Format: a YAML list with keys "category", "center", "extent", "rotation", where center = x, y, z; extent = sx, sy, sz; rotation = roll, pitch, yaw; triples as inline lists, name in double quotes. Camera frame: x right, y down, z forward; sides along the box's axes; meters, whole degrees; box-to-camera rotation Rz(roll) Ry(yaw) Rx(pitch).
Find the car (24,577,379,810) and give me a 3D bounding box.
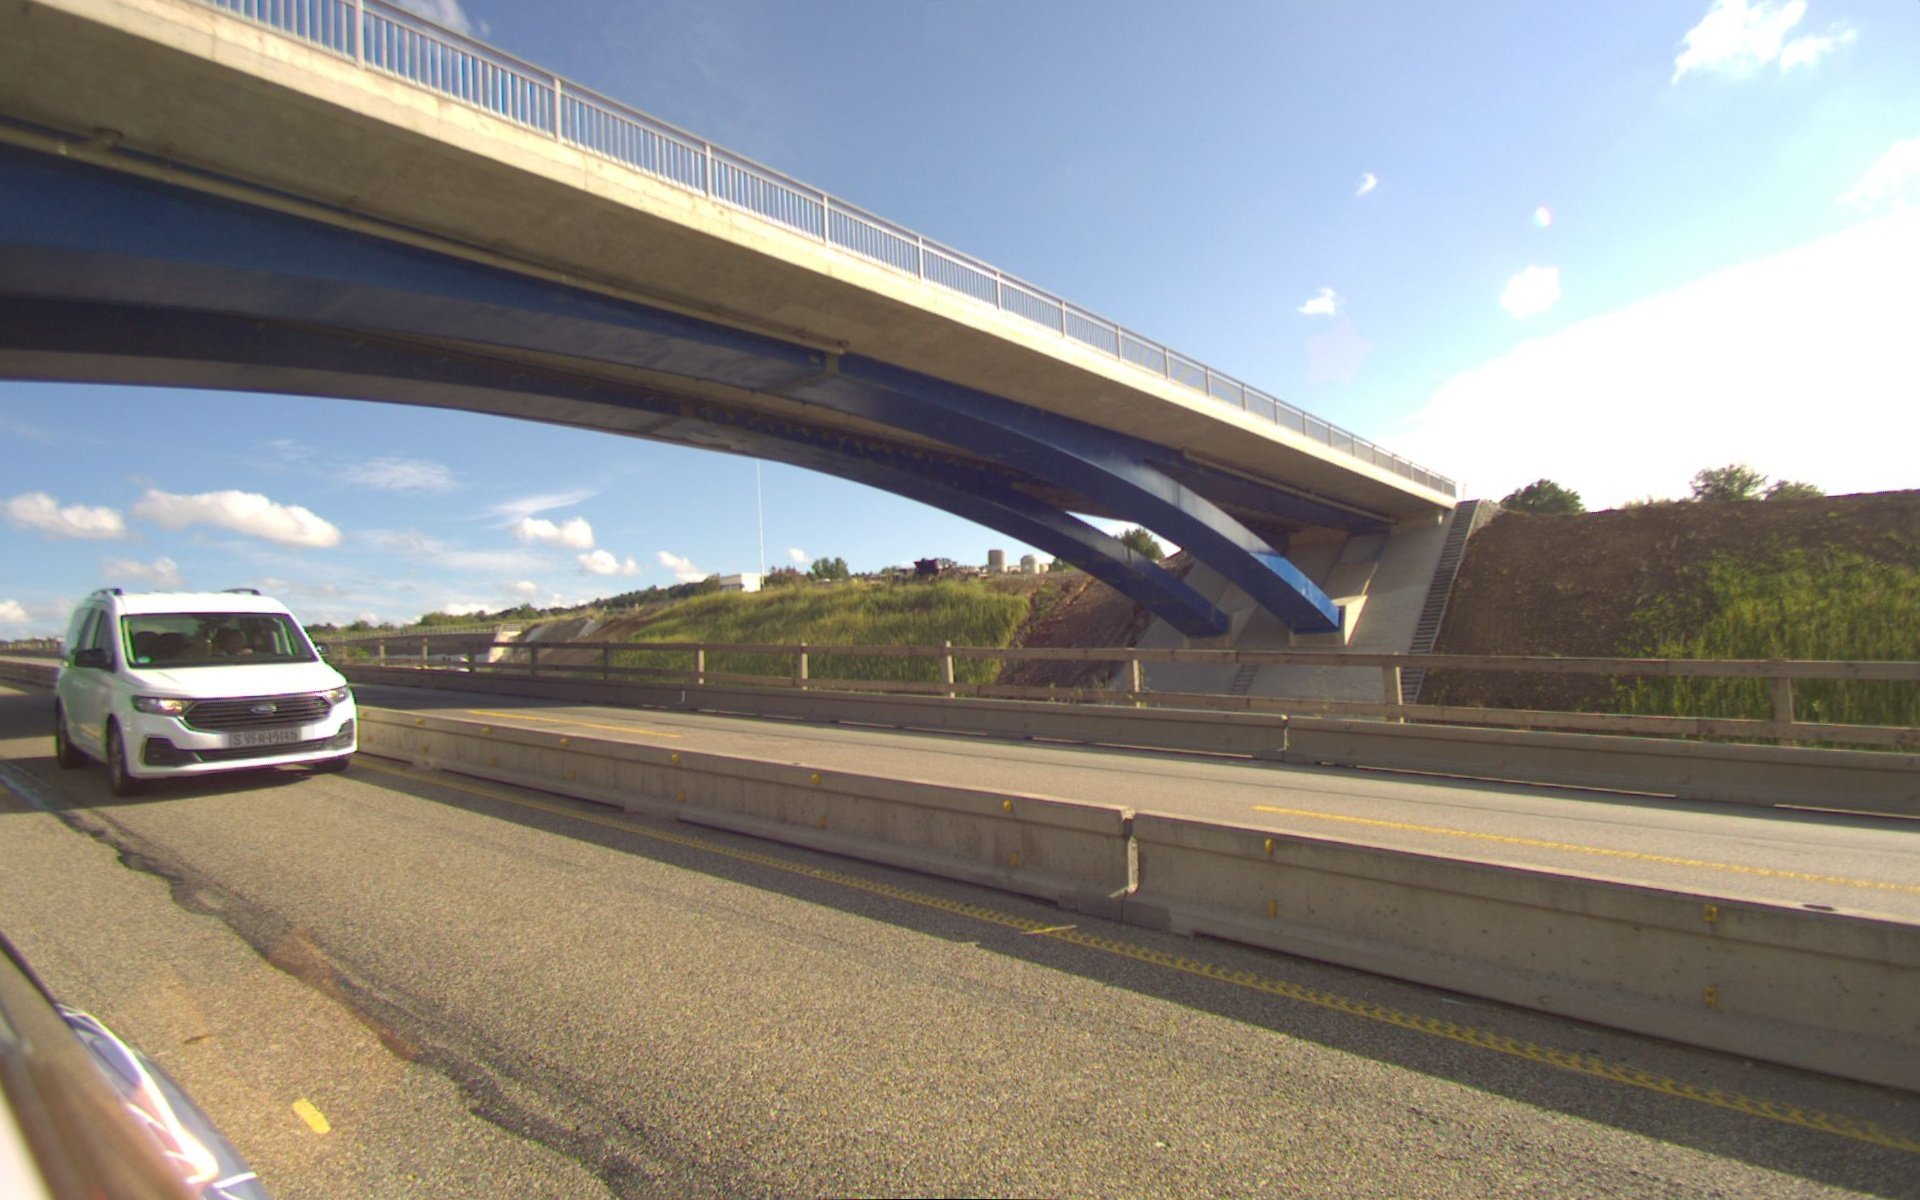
- category: "car"
  center: [-7.692, 0.789, 10.097]
  extent: [4.451, 1.837, 1.805]
  rotation: [-2, -1, 39]
